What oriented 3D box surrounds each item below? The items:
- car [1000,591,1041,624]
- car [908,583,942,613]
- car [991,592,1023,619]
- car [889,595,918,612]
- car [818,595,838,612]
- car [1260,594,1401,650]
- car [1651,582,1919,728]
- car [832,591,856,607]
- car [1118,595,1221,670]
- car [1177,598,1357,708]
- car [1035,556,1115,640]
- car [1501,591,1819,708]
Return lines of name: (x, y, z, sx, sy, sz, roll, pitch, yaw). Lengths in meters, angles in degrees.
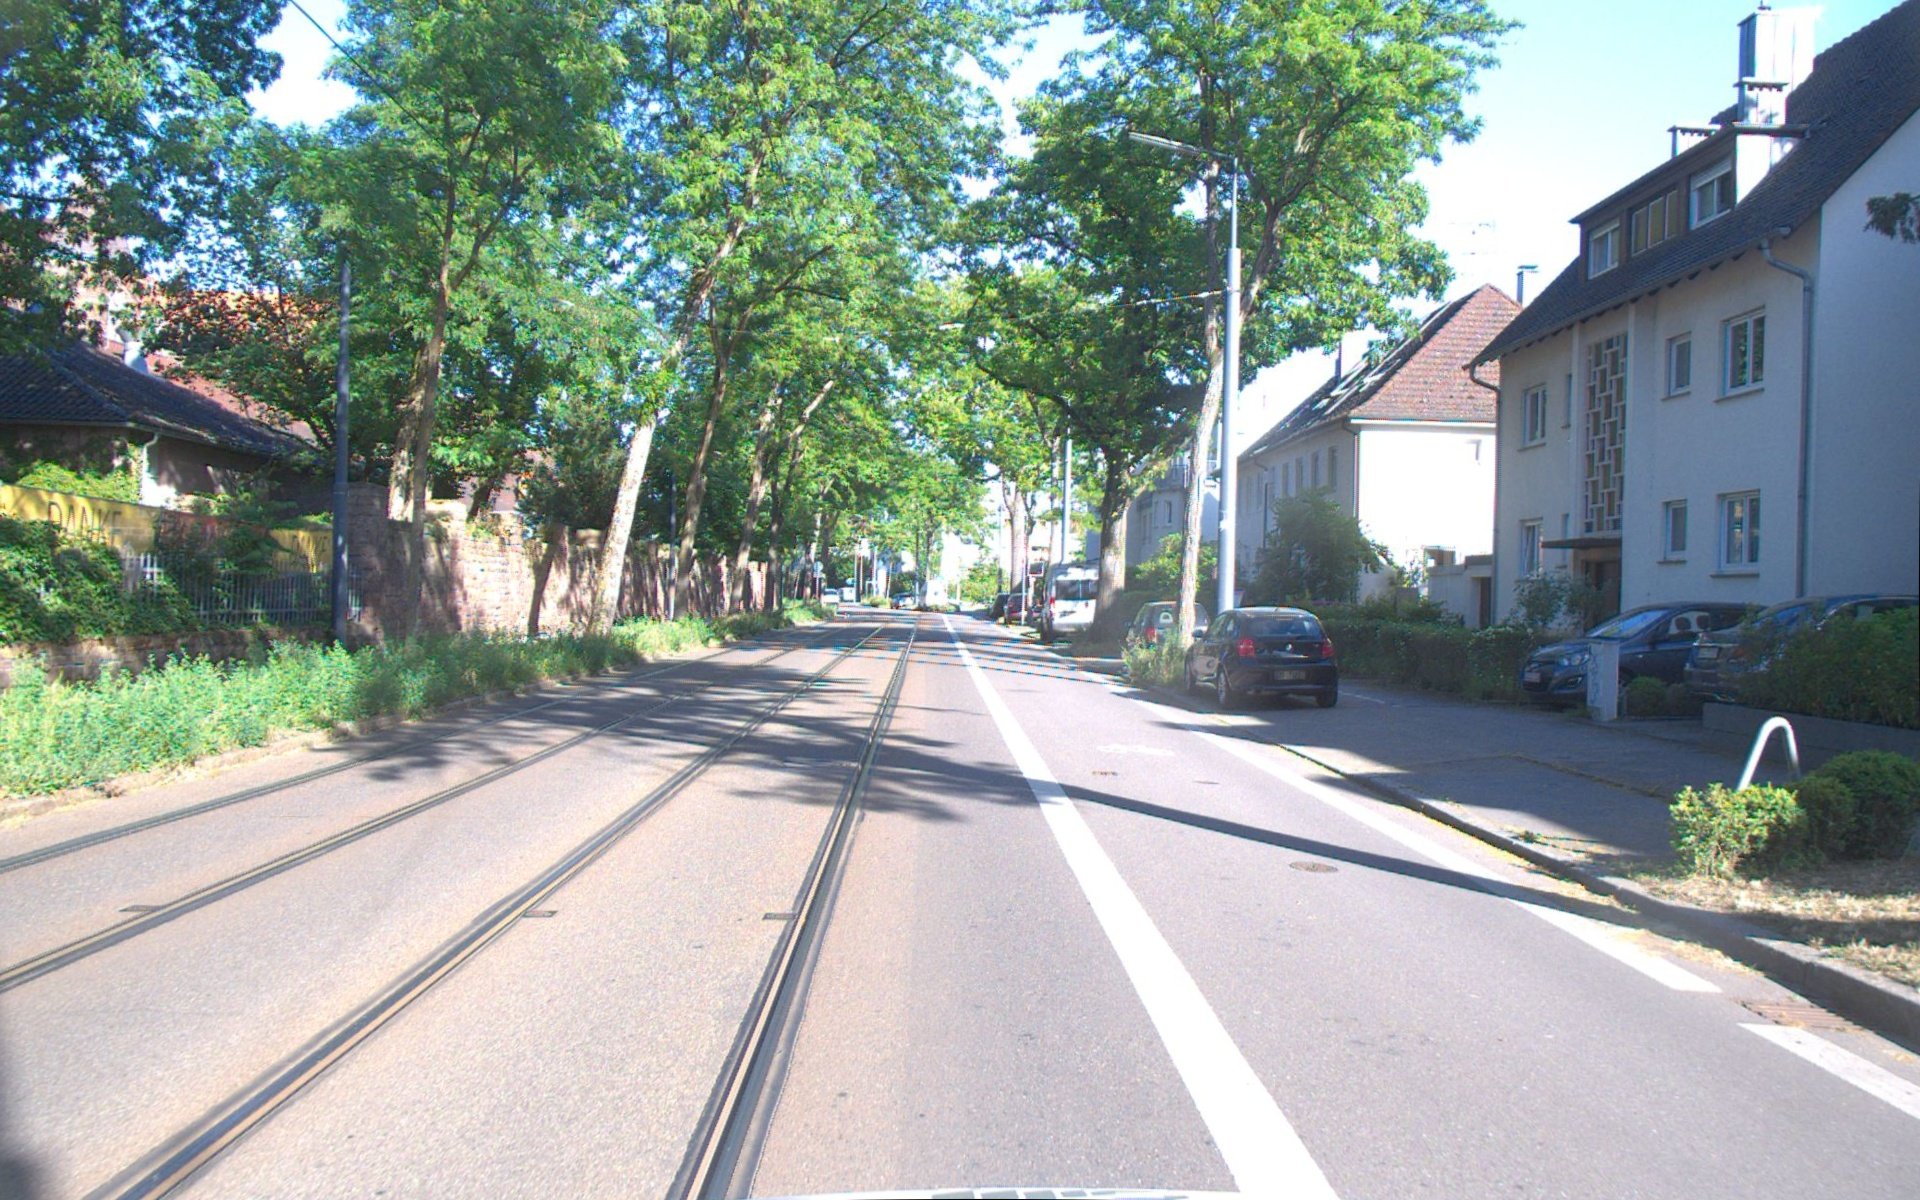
car: (3.209, 0.383, 88.477, 1.962, 1.704, 4.391, -1, 0, -1)
car: (-3.037, -0.207, 141.739, 1.960, 2.501, 4.492, 1, 0, -14)
car: (3.030, 0.351, 105.992, 1.961, 1.704, 4.394, -1, 0, 3)
car: (-5.485, 0.344, 159.643, 1.968, 1.588, 4.377, 1, 0, -13)
car: (-13.954, 0.373, 175.020, 1.831, 1.704, 4.164, 1, 0, -9)
car: (10.044, 0.576, 44.921, 3.340, 1.461, 1.728, 0, 0, -14)
car: (10.436, 0.574, 18.865, 4.330, 1.515, 1.859, -1, 0, 1)
car: (-14.704, -0.115, 209.365, 1.972, 1.943, 4.369, -1, 0, -18)
car: (4.358, 0.641, 34.892, 1.594, 1.422, 3.644, -2, 0, -1)
car: (4.598, 0.741, 25.402, 1.748, 1.473, 4.299, -2, 1, -3)
car: (3.869, -0.077, 56.574, 2.200, 2.700, 5.584, 0, 0, -1)
car: (9.552, 0.639, 22.725, 3.667, 1.515, 1.737, 0, 0, -7)
